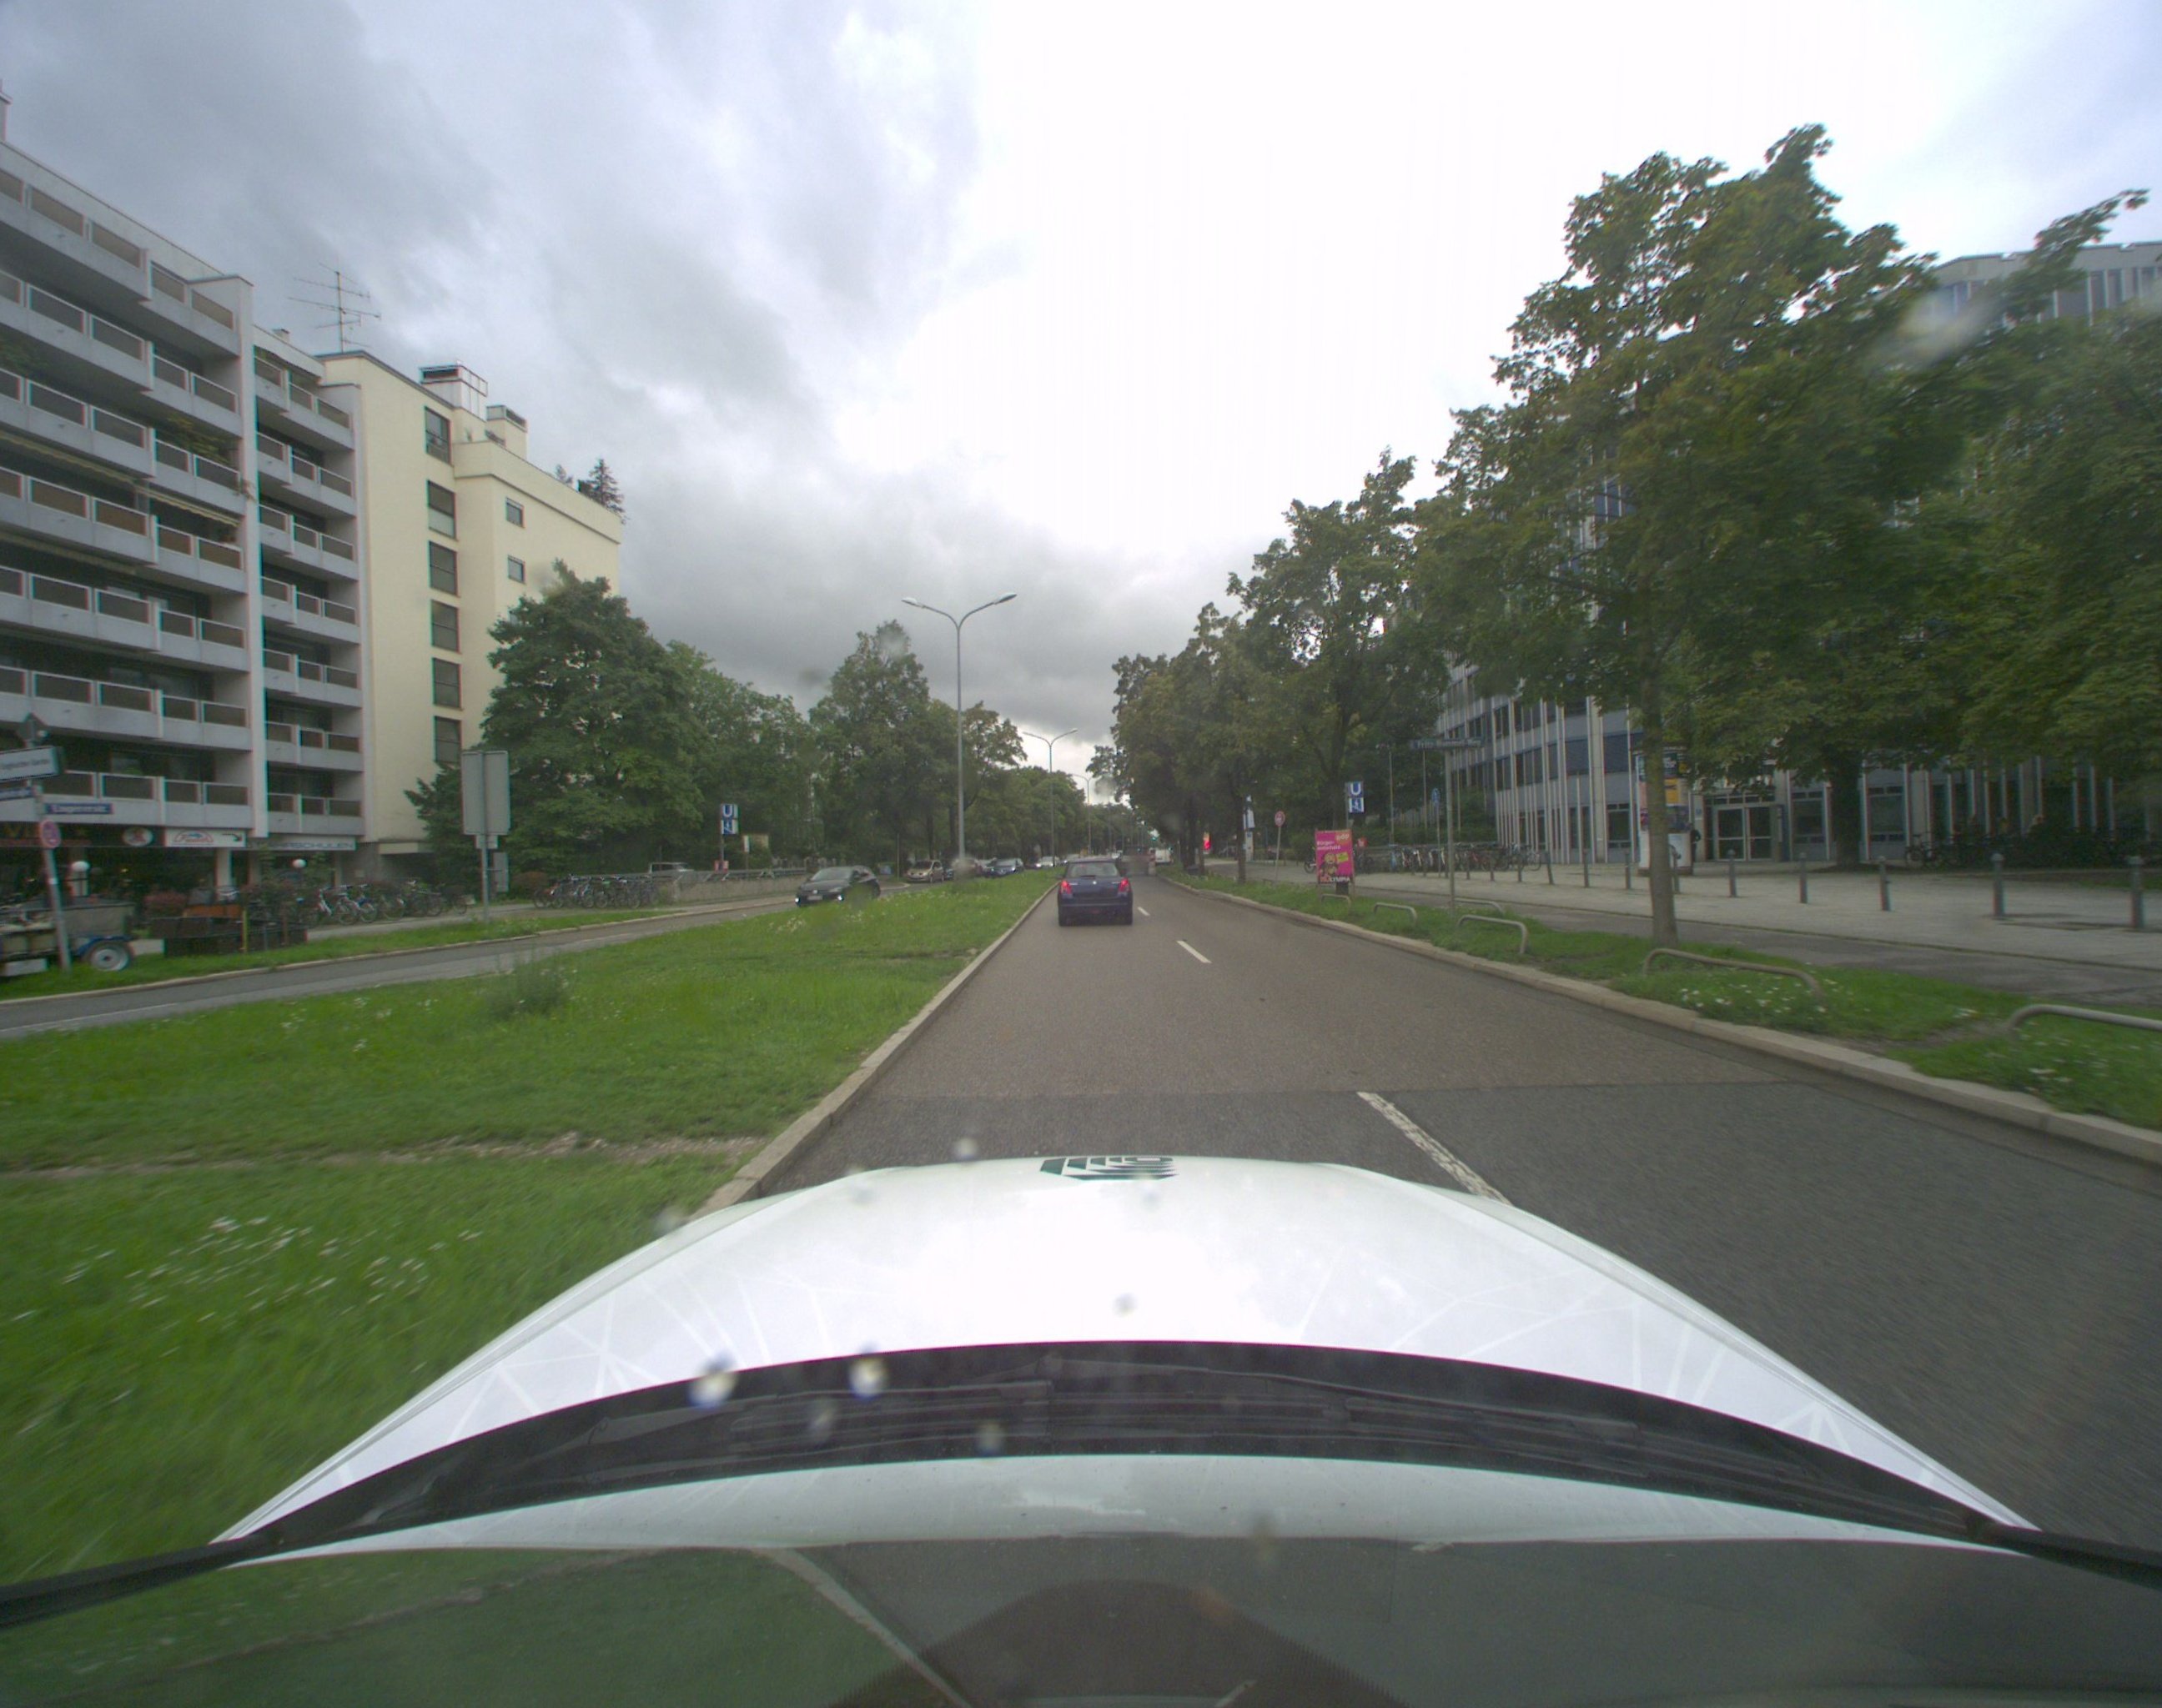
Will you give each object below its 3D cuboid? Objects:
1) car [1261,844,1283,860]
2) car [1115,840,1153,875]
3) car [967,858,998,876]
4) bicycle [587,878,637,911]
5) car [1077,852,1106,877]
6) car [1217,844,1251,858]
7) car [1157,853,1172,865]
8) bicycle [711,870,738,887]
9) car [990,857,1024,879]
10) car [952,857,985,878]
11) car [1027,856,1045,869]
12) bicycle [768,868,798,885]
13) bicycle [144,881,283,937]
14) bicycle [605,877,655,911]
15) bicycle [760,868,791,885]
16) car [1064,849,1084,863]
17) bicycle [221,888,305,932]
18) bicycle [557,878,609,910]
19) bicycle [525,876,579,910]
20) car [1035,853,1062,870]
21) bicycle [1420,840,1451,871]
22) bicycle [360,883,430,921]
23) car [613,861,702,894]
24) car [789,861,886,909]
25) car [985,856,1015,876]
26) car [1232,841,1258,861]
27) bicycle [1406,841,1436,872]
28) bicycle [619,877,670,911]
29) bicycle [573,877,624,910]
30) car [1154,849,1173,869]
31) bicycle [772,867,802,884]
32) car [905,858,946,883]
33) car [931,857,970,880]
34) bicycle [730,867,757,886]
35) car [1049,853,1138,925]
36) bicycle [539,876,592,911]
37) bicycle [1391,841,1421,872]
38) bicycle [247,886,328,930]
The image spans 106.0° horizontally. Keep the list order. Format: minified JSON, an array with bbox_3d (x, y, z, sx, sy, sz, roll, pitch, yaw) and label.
[{"bbox_3d":[23.388,-0.285,99.761,1.833,1.818,4.477,-3,0,4],"label":"car"},{"bbox_3d":[3.985,0.269,60.126,2.405,2.444,5.098,-1,0,8],"label":"car"},{"bbox_3d":[-8.742,1.107,72.723,1.730,1.483,4.342,0,0,7],"label":"car"},{"bbox_3d":[-16.779,1.432,29.171,0.406,1.040,1.959,2,1,9],"label":"bicycle"},{"bbox_3d":[0.666,0.688,53.761,1.793,1.499,3.660,-2,0,0],"label":"car"},{"bbox_3d":[25.391,-0.468,135.401,5.443,2.083,2.150,-2,0,5],"label":"car"},{"bbox_3d":[10.247,0.612,99.228,1.693,1.397,4.240,-3,0,7],"label":"car"},{"bbox_3d":[-22.057,1.512,50.442,0.575,1.007,2.036,-2,0,7],"label":"bicycle"},{"bbox_3d":[-5.135,0.960,56.993,1.683,1.402,3.973,-2,0,5],"label":"car"},{"bbox_3d":[-9.286,1.065,67.729,1.731,1.651,4.612,0,0,5],"label":"car"},{"bbox_3d":[-5.487,1.040,100.442,1.573,1.423,4.370,1,0,6],"label":"car"},{"bbox_3d":[-19.209,1.428,52.500,1.753,1.007,0.437,-2,0,5],"label":"bicycle"},{"bbox_3d":[-23.224,1.444,21.818,3.307,1.283,0.790,2,1,9],"label":"bicycle"},{"bbox_3d":[-16.109,1.404,29.150,0.406,1.078,1.959,2,1,9],"label":"bicycle"},{"bbox_3d":[-19.115,1.422,50.985,1.753,1.007,0.437,-2,0,5],"label":"bicycle"},{"bbox_3d":[-0.812,0.217,95.339,1.757,1.624,4.384,-3,0,6],"label":"car"},{"bbox_3d":[-22.564,1.550,22.467,1.936,1.103,0.561,-2,0,9],"label":"bicycle"},{"bbox_3d":[-17.901,1.416,29.323,0.406,1.030,1.959,2,1,9],"label":"bicycle"},{"bbox_3d":[-19.003,1.381,29.302,0.406,1.097,1.959,2,1,9],"label":"bicycle"},{"bbox_3d":[-3.028,0.696,76.672,1.906,1.484,4.872,-3,0,5],"label":"car"},{"bbox_3d":[14.380,0.060,33.069,0.485,1.189,1.956,-2,0,3],"label":"bicycle"},{"bbox_3d":[-21.954,1.536,26.070,1.936,1.103,0.561,2,1,9],"label":"bicycle"},{"bbox_3d":[-23.160,1.290,44.580,3.965,1.589,1.752,-2,0,7],"label":"car"},{"bbox_3d":[-8.295,1.024,28.163,1.774,1.405,4.107,-3,0,4],"label":"car"},{"bbox_3d":[-6.644,0.982,66.932,1.683,1.484,3.973,-2,0,5],"label":"car"},{"bbox_3d":[19.980,-0.396,99.513,2.254,2.306,6.276,-3,0,5],"label":"car"},{"bbox_3d":[13.775,0.087,33.040,0.485,1.189,1.956,-2,0,3],"label":"bicycle"},{"bbox_3d":[-15.582,1.410,29.143,0.406,1.089,2.089,2,1,9],"label":"bicycle"},{"bbox_3d":[-17.319,1.389,29.278,0.406,1.072,1.959,2,1,9],"label":"bicycle"},{"bbox_3d":[9.424,0.572,92.926,1.977,2.157,5.566,-3,0,7],"label":"car"},{"bbox_3d":[-19.151,1.409,53.091,1.753,1.007,0.437,-2,0,5],"label":"bicycle"},{"bbox_3d":[-10.676,1.101,56.075,1.638,1.614,3.827,-1,0,8],"label":"car"},{"bbox_3d":[-9.863,1.082,62.007,1.730,1.643,4.693,-1,0,7],"label":"car"},{"bbox_3d":[-20.918,1.378,50.488,0.575,1.099,2.036,-2,0,7],"label":"bicycle"},{"bbox_3d":[0.371,0.757,19.380,1.888,1.499,3.663,-1,0,3],"label":"car"},{"bbox_3d":[-18.490,1.402,29.257,0.406,1.103,1.959,2,1,9],"label":"bicycle"},{"bbox_3d":[13.196,0.102,33.073,0.485,1.189,1.956,-2,0,3],"label":"bicycle"},{"bbox_3d":[-22.454,1.522,23.047,1.936,1.103,0.561,2,1,9],"label":"bicycle"}]
